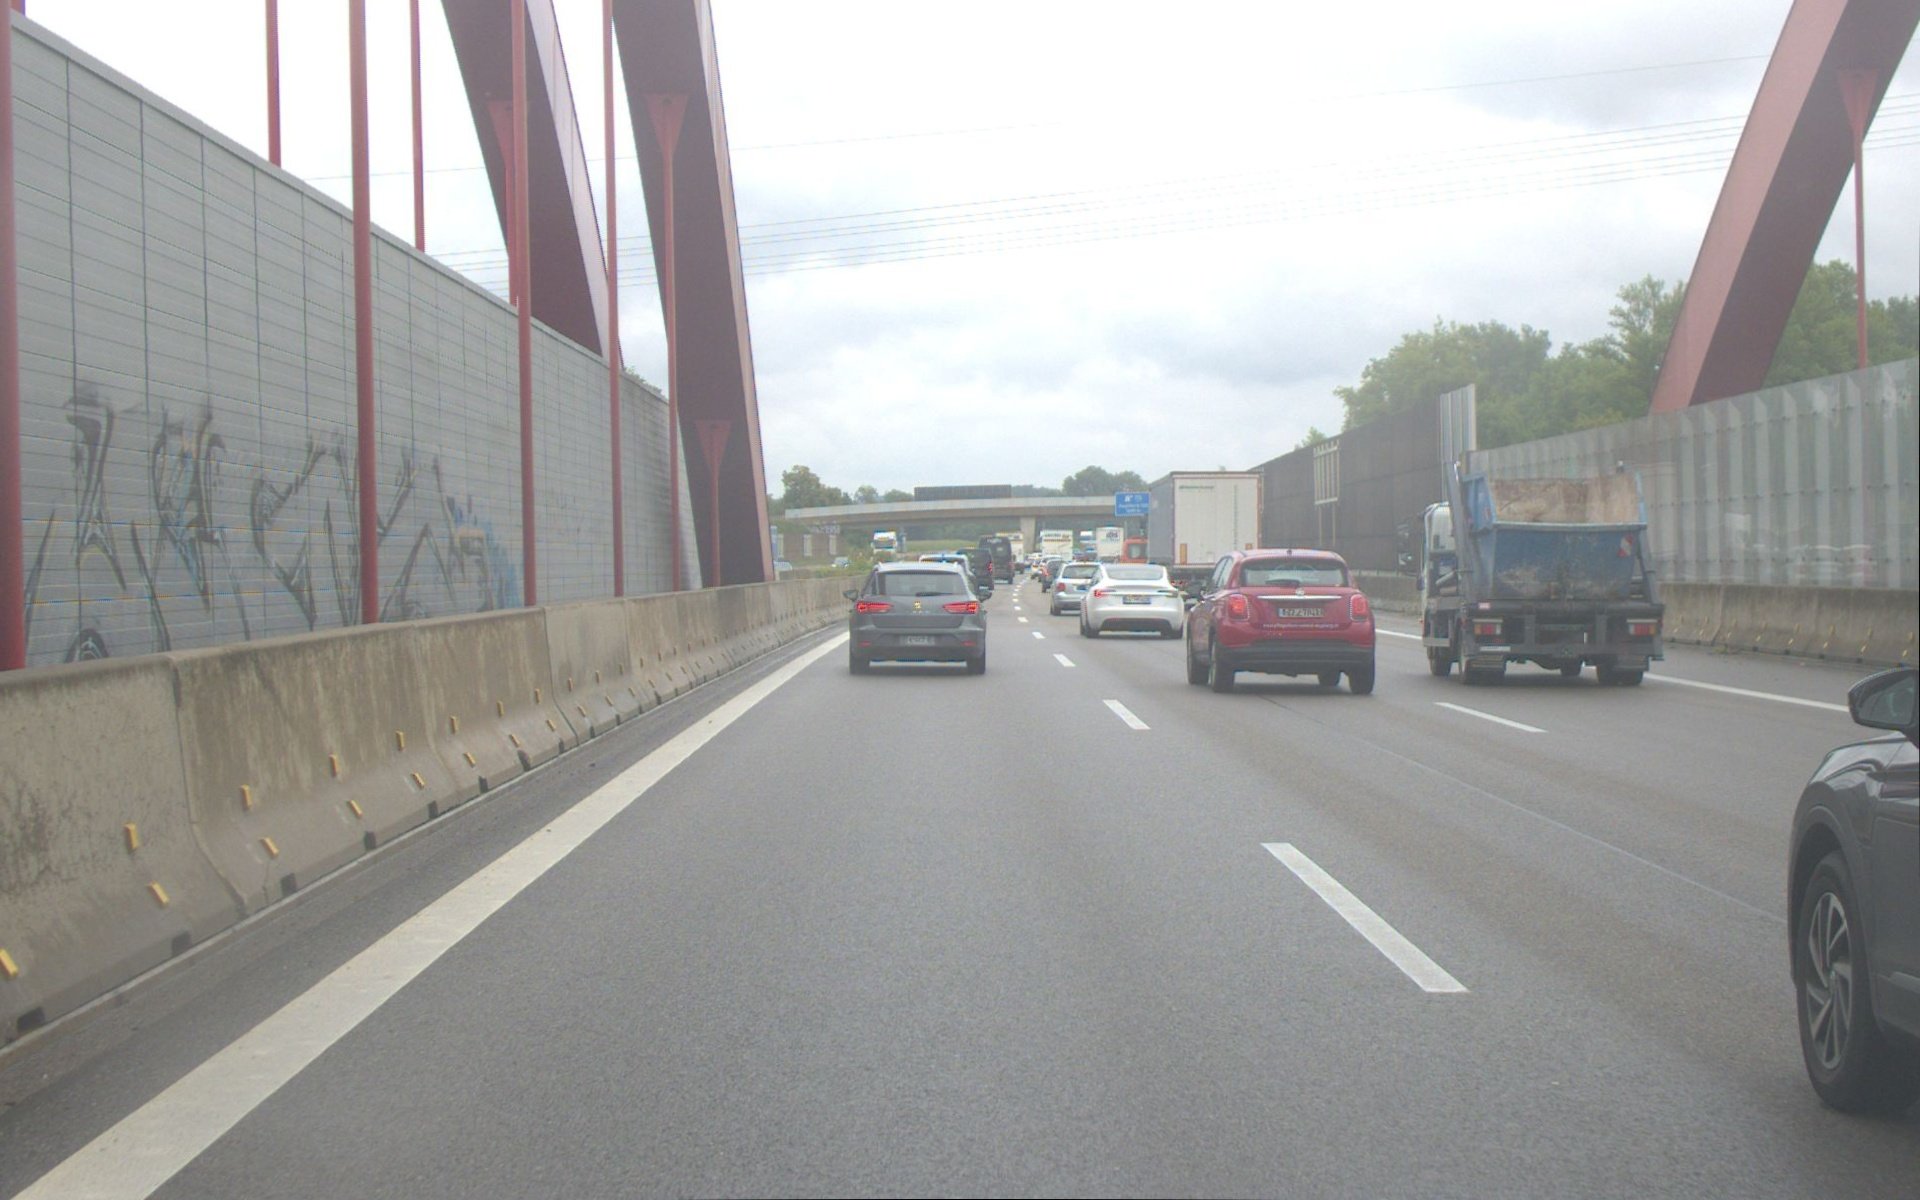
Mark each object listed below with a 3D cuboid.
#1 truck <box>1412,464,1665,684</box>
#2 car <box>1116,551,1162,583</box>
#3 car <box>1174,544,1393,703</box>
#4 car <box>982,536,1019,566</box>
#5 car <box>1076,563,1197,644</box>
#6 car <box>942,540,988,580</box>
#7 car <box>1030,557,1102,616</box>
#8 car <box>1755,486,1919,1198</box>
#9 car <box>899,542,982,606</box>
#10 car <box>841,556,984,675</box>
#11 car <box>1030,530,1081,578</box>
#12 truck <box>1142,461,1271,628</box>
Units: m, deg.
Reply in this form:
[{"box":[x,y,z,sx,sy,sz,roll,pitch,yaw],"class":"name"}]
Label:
[{"box":[7.035,-0.350,42.492,2.361,2.498,6.143,0,1,3],"class":"truck"},{"box":[8.546,-1.602,164.719,1.993,1.514,4.000,0,1,0],"class":"car"},{"box":[3.606,0.221,38.962,1.957,1.641,4.001,-1,1,-2],"class":"car"},{"box":[2.213,-2.670,188.548,1.993,1.618,4.000,0,1,1],"class":"car"},{"box":[3.362,0.044,66.006,1.993,1.481,4.000,0,1,-2],"class":"car"},{"box":[0.202,-1.825,155.645,1.993,1.809,4.000,0,1,-1],"class":"car"},{"box":[2.854,-0.389,93.267,1.702,1.538,3.839,0,1,-2],"class":"car"},{"box":[3.216,0.578,7.506,1.911,1.664,4.104,0,1,-1],"class":"car"},{"box":[-0.540,-0.698,88.905,1.993,1.579,4.001,-1,1,-2],"class":"car"},{"box":[-0.613,0.167,44.455,1.763,1.448,4.000,0,1,-1],"class":"car"},{"box":[4.106,-1.975,148.839,1.993,2.007,4.000,1,1,-1],"class":"car"},{"box":[7.218,-1.632,101.612,3.044,4.718,7.680,1,1,-1],"class":"truck"}]
